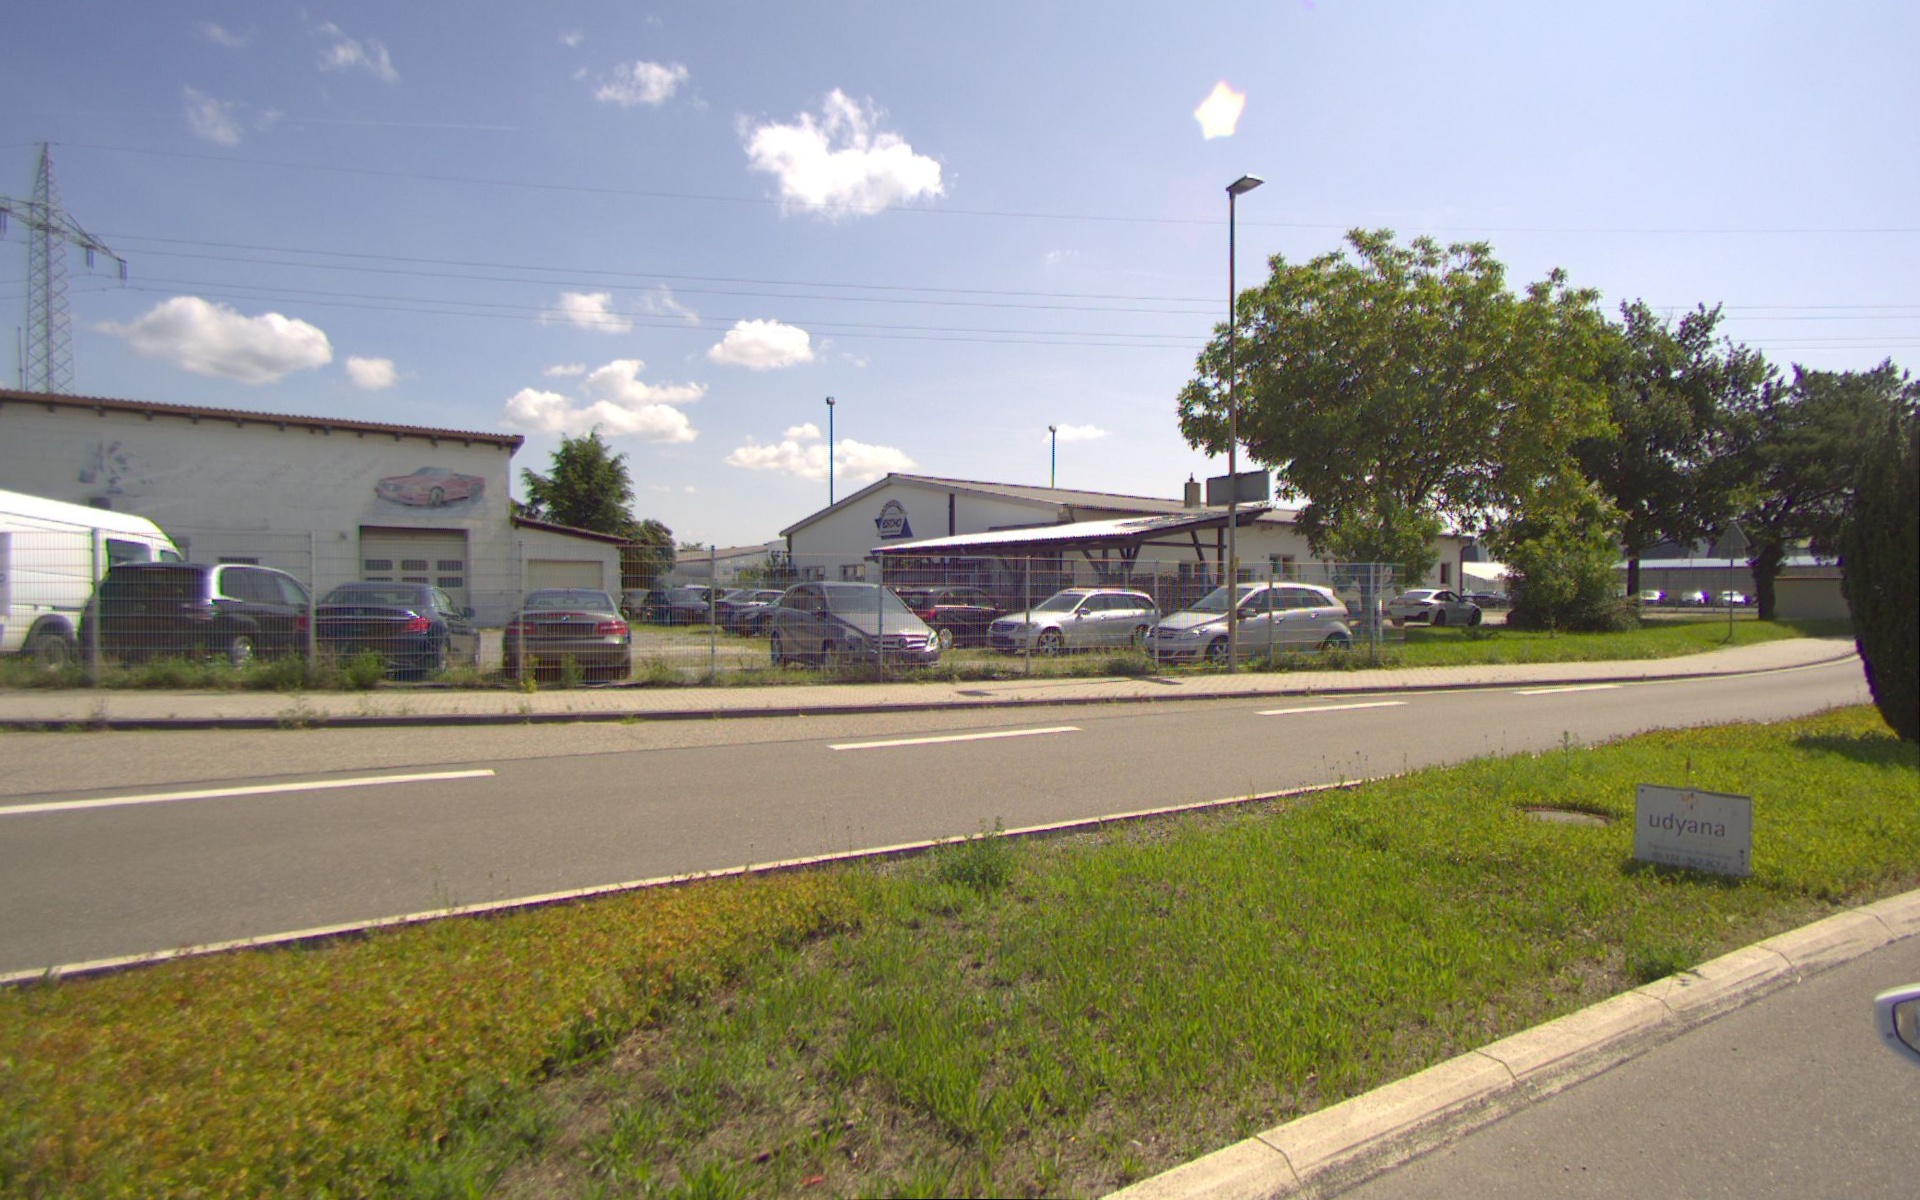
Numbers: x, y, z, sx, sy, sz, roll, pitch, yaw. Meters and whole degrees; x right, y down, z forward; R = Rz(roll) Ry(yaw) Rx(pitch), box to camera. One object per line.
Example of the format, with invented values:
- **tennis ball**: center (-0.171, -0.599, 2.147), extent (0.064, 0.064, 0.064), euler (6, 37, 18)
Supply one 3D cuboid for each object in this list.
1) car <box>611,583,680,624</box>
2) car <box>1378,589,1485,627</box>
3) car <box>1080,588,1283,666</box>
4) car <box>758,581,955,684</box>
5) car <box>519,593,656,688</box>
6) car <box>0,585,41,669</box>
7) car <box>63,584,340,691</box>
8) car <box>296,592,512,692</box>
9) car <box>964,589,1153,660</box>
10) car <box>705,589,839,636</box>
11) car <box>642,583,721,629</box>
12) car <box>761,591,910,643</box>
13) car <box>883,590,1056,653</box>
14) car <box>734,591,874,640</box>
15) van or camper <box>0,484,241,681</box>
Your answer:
- **car**: center (-13.361, 0.155, 42.604), extent (1.795, 1.662, 3.697), euler (1, 0, -34)
- **car**: center (18.420, 0.311, 39.162), extent (4.475, 1.427, 1.978), euler (1, 0, -38)
- **car**: center (4.605, 0.515, 20.755), extent (3.961, 1.461, 1.980), euler (1, 0, -36)
- **car**: center (-1.897, 0.487, 17.255), extent (1.976, 1.539, 3.969), euler (0, 0, -29)
- **car**: center (-5.878, 0.584, 16.245), extent (1.663, 1.339, 3.879), euler (1, 0, -14)
- **car**: center (-16.145, 0.420, 14.836), extent (1.964, 1.339, 3.992), euler (1, 0, -11)
- **car**: center (-10.811, 0.474, 14.714), extent (1.805, 1.339, 3.988), euler (1, 0, -14)
- **car**: center (-8.426, 0.569, 15.638), extent (1.966, 1.339, 3.988), euler (1, 0, -14)
- **car**: center (2.265, 0.506, 22.669), extent (3.962, 1.461, 1.980), euler (0, 0, -36)
- **car**: center (-6.230, 0.398, 33.456), extent (3.962, 1.461, 1.980), euler (1, 0, -36)
- **car**: center (-10.637, 0.215, 38.223), extent (1.795, 1.662, 3.697), euler (1, 0, -34)
- **car**: center (-3.682, 0.489, 29.896), extent (3.962, 1.461, 1.980), euler (1, 0, -36)
- **car**: center (0.261, 0.511, 25.139), extent (3.962, 1.461, 1.980), euler (1, 0, -36)
- **car**: center (-4.905, 0.471, 31.754), extent (3.962, 1.461, 1.980), euler (1, 0, -36)
- **van or camper**: center (-13.741, -0.235, 15.438), extent (2.041, 2.531, 5.580), euler (1, 0, -9)
